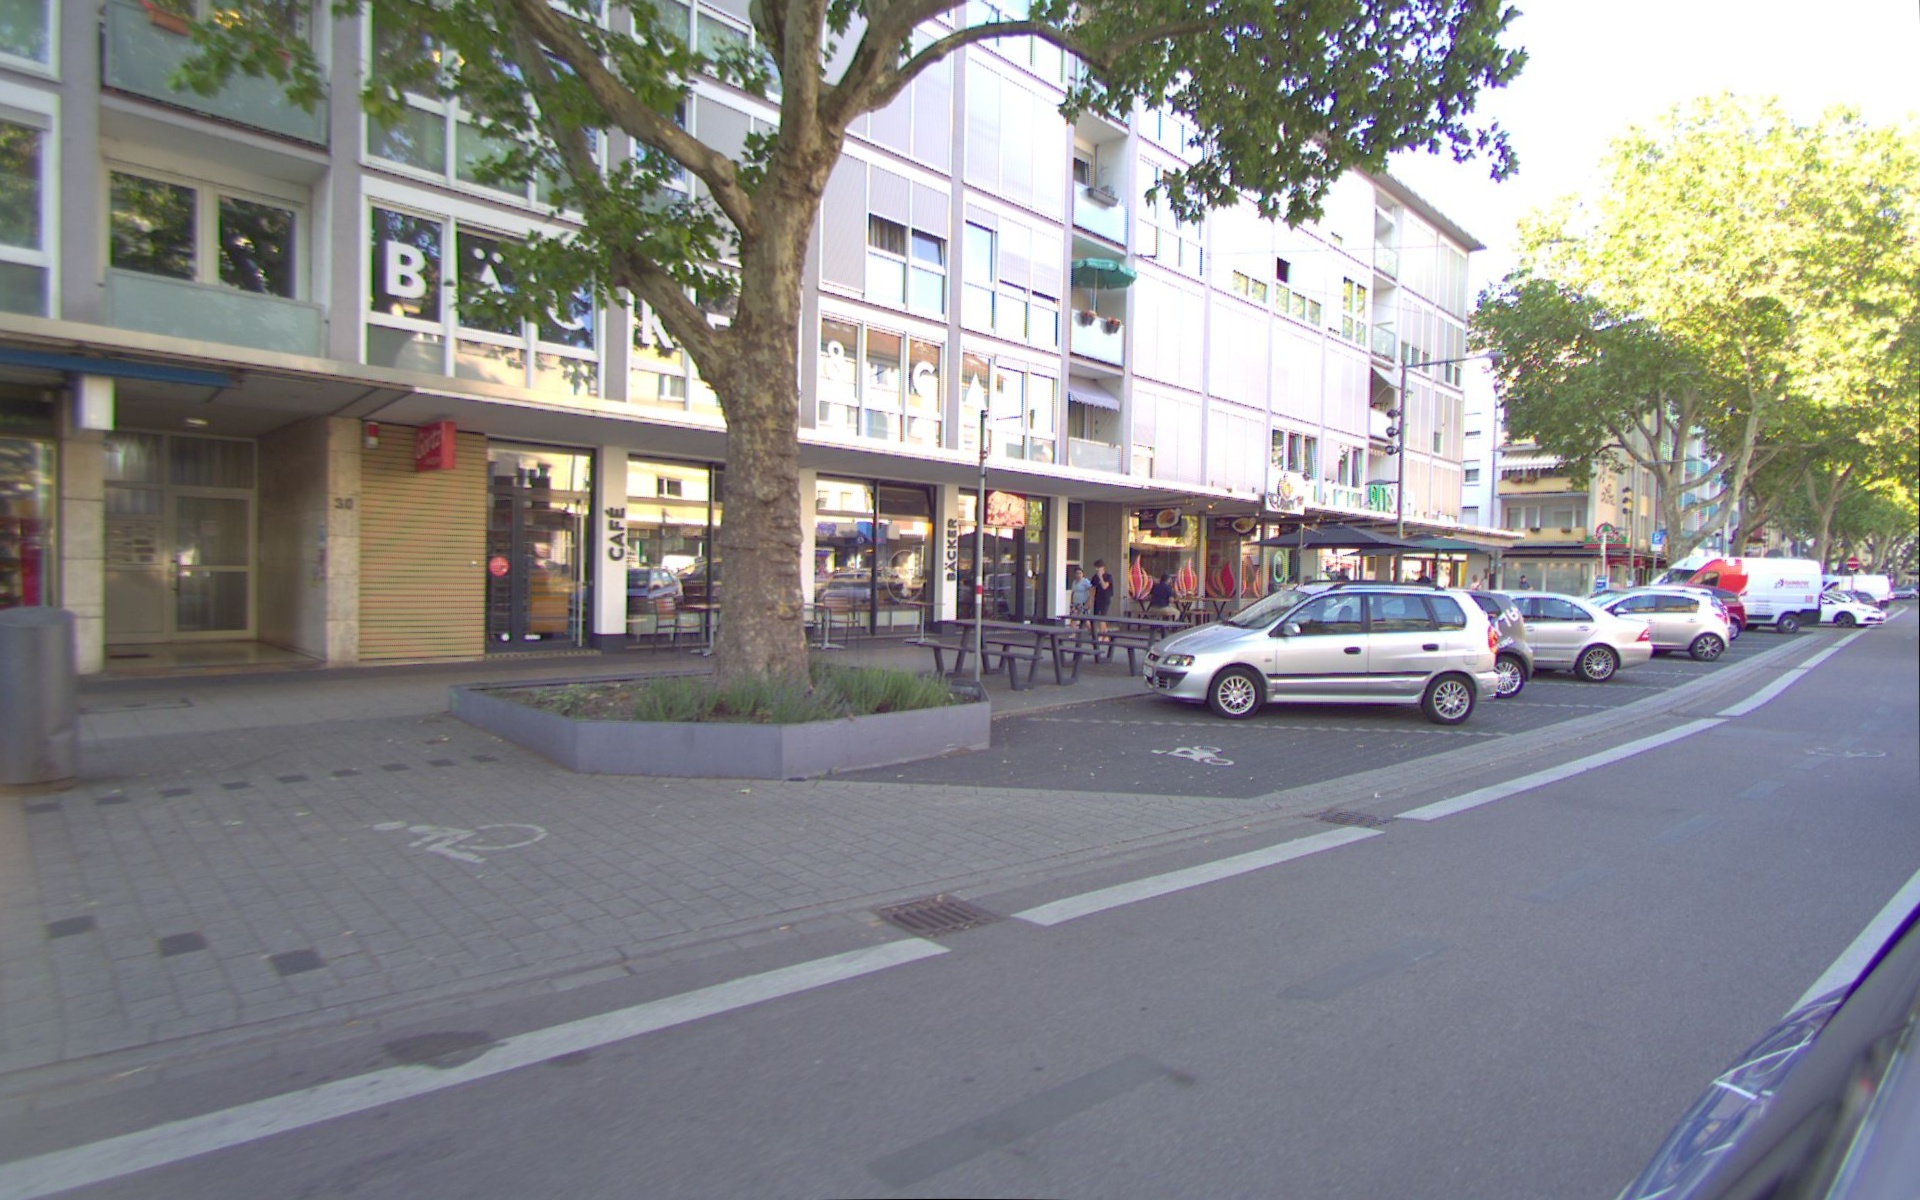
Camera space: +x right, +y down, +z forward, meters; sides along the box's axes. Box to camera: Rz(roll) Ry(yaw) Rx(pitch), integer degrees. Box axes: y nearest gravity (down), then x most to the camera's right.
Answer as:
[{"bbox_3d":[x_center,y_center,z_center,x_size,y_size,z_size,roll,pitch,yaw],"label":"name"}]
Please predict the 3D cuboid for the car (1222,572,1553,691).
[{"bbox_3d":[6.004,0.408,14.541,3.922,1.525,1.811,1,2,-2],"label":"car"}]

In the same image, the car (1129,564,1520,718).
[{"bbox_3d":[4.179,0.430,12.048,3.922,1.626,1.811,1,2,-2],"label":"car"}]

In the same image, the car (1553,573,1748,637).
[{"bbox_3d":[18.430,0.105,27.149,3.930,1.541,1.658,1,3,5],"label":"car"}]

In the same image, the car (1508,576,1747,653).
[{"bbox_3d":[14.397,0.277,22.013,3.930,1.453,1.658,1,3,5],"label":"car"}]

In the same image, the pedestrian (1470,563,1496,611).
[{"bbox_3d":[18.106,-0.449,35.057,0.537,1.610,0.676,5,4,44],"label":"pedestrian"}]

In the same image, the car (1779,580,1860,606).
[{"bbox_3d":[50.800,-0.435,59.851,3.272,1.363,1.530,1,3,5],"label":"car"}]

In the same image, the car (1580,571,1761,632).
[{"bbox_3d":[20.587,0.009,29.461,3.930,1.582,1.658,1,3,5],"label":"car"}]

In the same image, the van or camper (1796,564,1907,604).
[{"bbox_3d":[59.009,-1.062,67.056,5.363,2.499,1.999,1,1,3],"label":"van or camper"}]

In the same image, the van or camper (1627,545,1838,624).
[{"bbox_3d":[26.042,-0.556,34.284,5.367,2.499,1.998,1,1,5],"label":"van or camper"}]

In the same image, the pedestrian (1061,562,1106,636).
[{"bbox_3d":[2.468,-0.032,20.198,0.537,1.417,0.676,5,4,44],"label":"pedestrian"}]

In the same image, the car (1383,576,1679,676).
[{"bbox_3d":[9.450,0.398,16.991,3.926,1.453,1.660,1,3,2],"label":"car"}]

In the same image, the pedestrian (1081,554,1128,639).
[{"bbox_3d":[2.816,-0.083,19.711,0.537,1.610,0.676,5,4,44],"label":"pedestrian"}]

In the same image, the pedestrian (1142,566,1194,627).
[{"bbox_3d":[4.859,-0.093,23.632,0.945,1.379,0.750,0,2,-41],"label":"pedestrian"}]

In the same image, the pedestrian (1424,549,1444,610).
[{"bbox_3d":[16.010,-0.679,34.153,0.548,2.039,0.571,-1,0,31],"label":"pedestrian"}]
